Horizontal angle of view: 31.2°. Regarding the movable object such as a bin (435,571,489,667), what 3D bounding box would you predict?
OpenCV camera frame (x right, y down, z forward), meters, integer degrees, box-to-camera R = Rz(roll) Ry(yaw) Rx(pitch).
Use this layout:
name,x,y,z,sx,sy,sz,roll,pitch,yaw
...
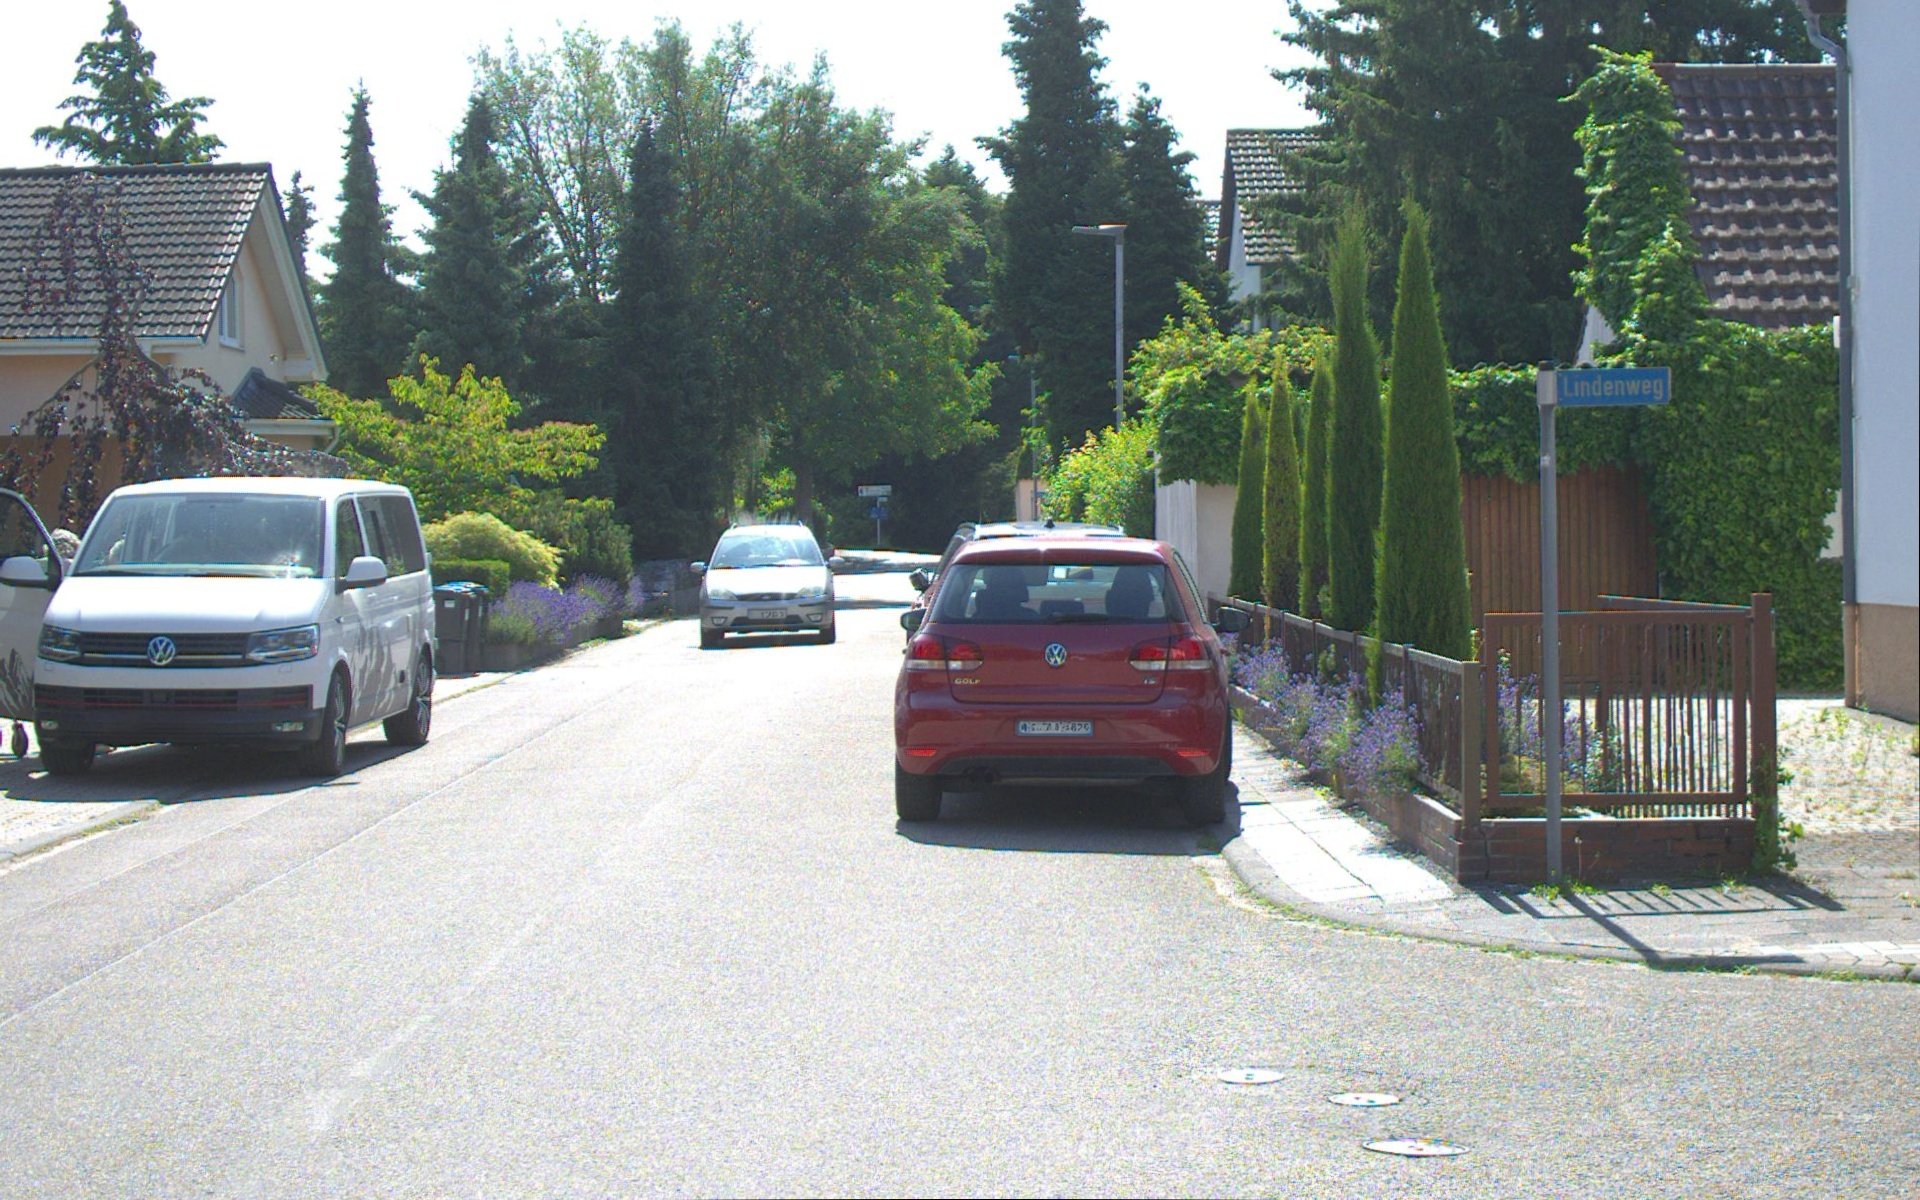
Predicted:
name,x,y,z,sx,sy,sz,roll,pitch,yaw
movable object such as a bin,-5.393,0.202,37.235,0.494,1.021,0.447,-1,1,0

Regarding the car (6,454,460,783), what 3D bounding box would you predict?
name,x,y,z,sx,sy,sz,roll,pitch,yaw
car,-4.833,0.064,23.609,1.929,2.007,4.896,0,1,2

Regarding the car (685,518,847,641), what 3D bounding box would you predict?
name,x,y,z,sx,sy,sz,roll,pitch,yaw
car,-2.440,-0.297,44.218,1.752,1.482,4.376,-1,1,1

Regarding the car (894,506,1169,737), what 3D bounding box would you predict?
name,x,y,z,sx,sy,sz,roll,pitch,yaw
car,0.462,0.107,26.030,1.822,1.610,4.001,0,1,-3

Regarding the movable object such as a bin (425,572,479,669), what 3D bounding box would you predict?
name,x,y,z,sx,sy,sz,roll,pitch,yaw
movable object such as a bin,-5.426,0.214,36.735,0.494,1.021,0.447,-1,1,0

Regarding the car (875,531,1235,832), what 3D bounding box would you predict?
name,x,y,z,sx,sy,sz,roll,pitch,yaw
car,0.591,0.364,19.236,1.775,1.474,4.000,1,1,3

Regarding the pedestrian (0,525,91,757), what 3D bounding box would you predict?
name,x,y,z,sx,sy,sz,roll,pitch,yaw
pedestrian,-6.387,0.261,23.283,0.718,1.533,0.641,1,2,34
